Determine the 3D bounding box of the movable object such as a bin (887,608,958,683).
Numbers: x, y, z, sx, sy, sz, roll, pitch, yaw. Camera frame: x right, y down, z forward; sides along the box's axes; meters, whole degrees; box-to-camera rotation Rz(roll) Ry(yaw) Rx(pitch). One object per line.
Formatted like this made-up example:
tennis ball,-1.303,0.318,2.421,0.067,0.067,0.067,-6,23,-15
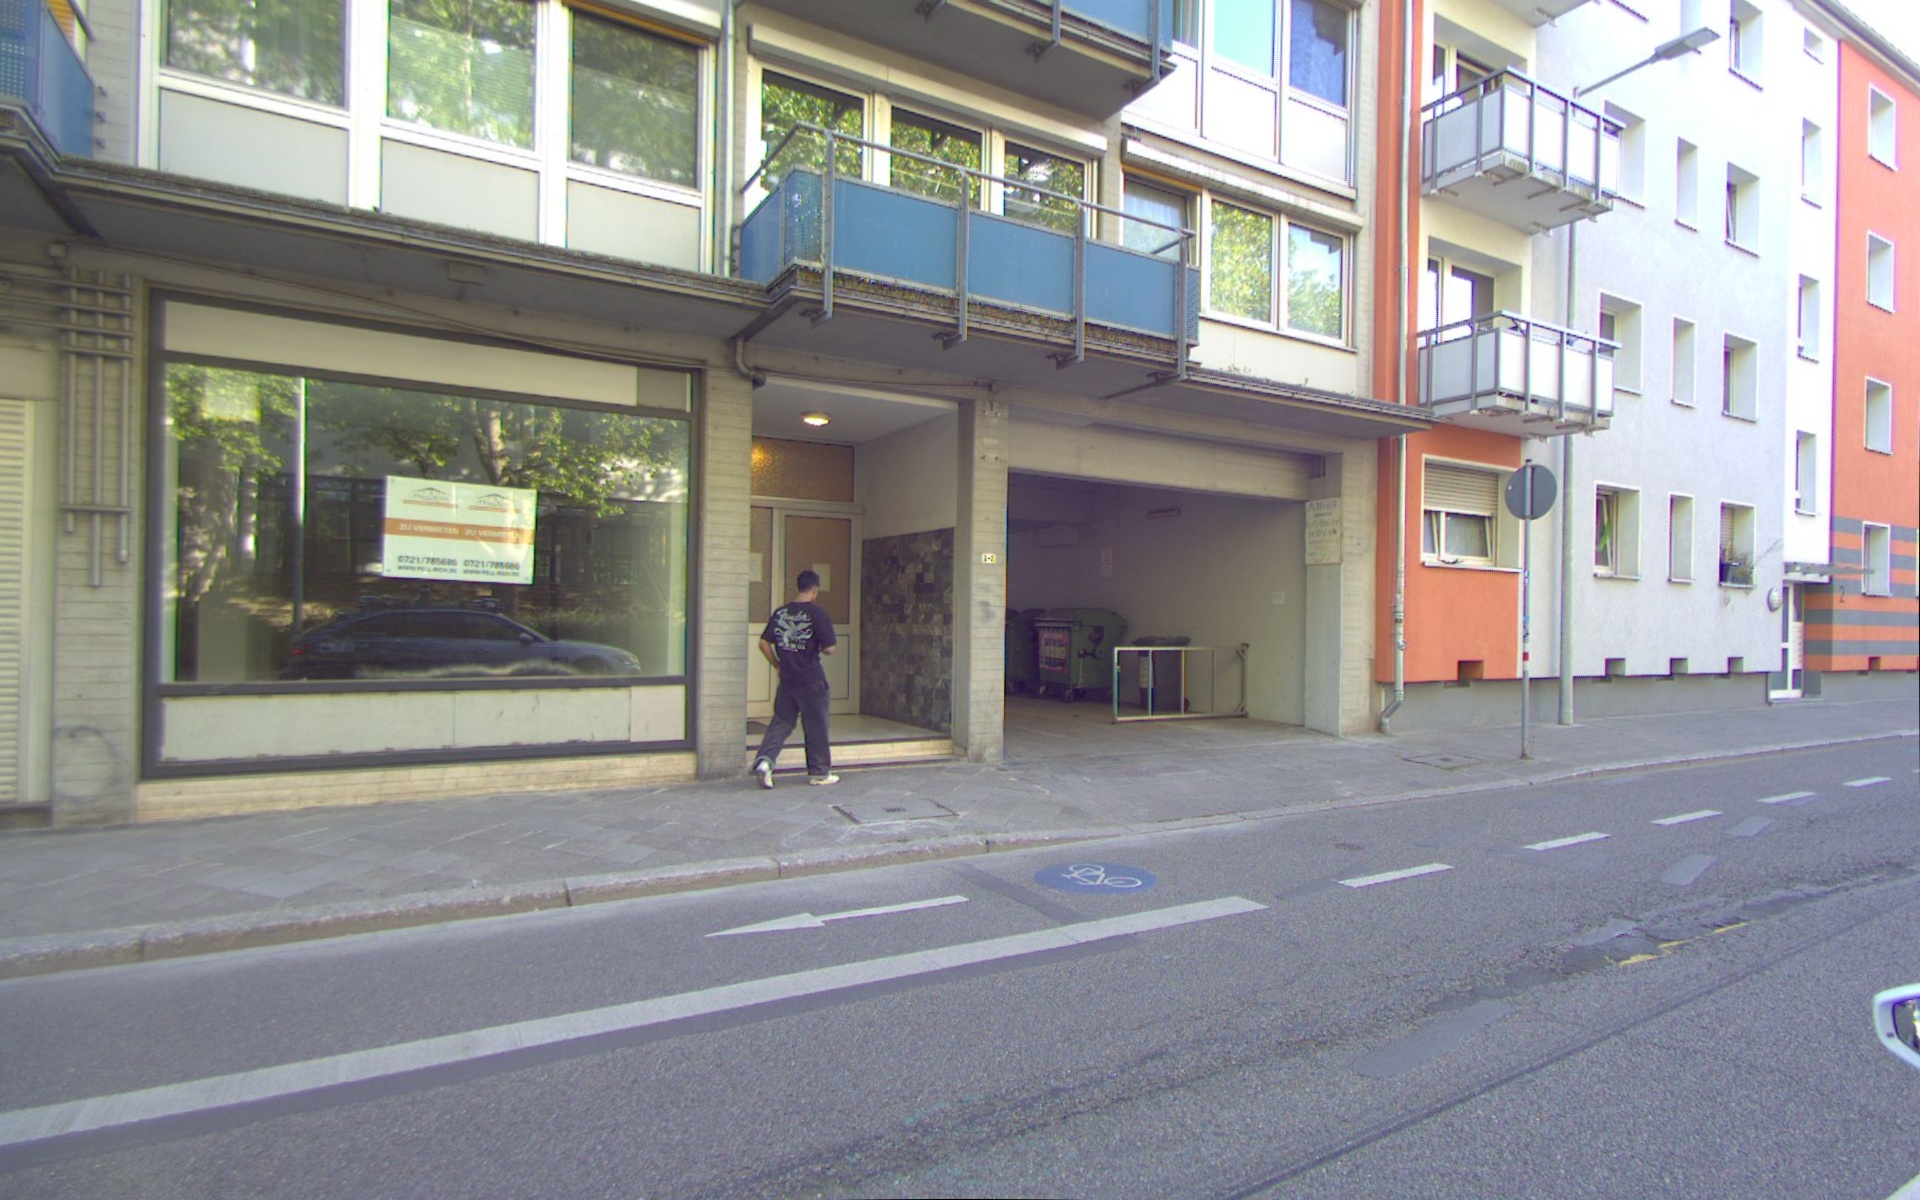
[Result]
movable object such as a bin,-0.744,0.871,19.682,1.012,1.409,1.046,1,0,-31

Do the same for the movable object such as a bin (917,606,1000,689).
movable object such as a bin,-0.038,0.854,18.668,1.011,1.462,1.318,1,0,-29

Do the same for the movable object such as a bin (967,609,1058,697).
movable object such as a bin,0.880,0.877,17.158,1.011,1.409,1.319,1,0,-27

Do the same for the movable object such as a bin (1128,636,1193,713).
movable object such as a bin,2.882,1.052,14.469,0.704,1.054,0.583,1,0,-30

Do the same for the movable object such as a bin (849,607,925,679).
movable object such as a bin,-1.507,0.870,20.655,1.014,1.409,1.264,1,0,-37

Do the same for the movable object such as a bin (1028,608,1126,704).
movable object such as a bin,1.819,0.854,15.825,1.009,1.438,1.321,1,0,-23

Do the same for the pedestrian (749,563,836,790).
pedestrian,-1.338,0.600,8.088,0.619,1.764,0.527,1,0,-4
